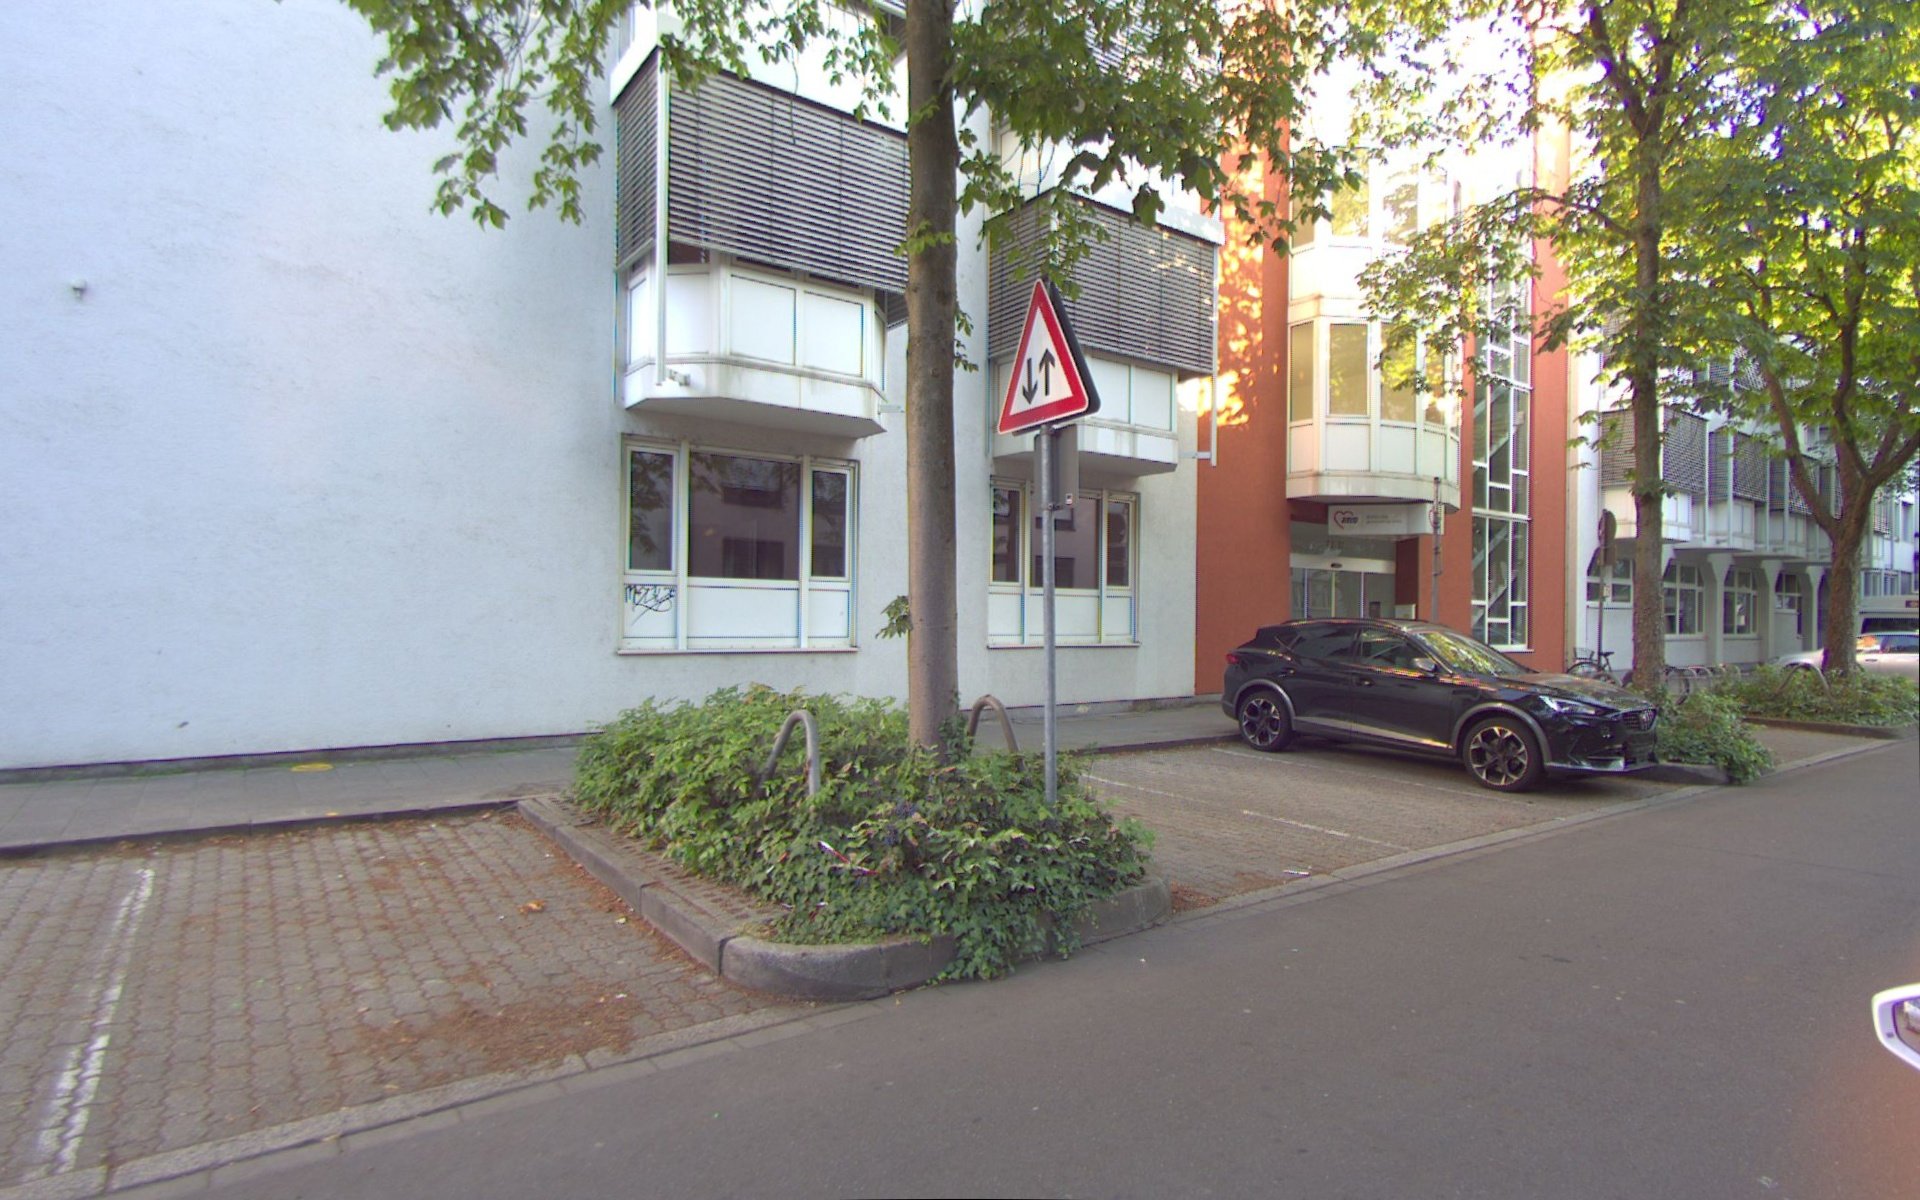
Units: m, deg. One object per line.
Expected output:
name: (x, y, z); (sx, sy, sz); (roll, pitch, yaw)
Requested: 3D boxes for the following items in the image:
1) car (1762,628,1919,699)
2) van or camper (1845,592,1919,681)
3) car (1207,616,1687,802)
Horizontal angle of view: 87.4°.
car: (21.354, 1.441, 23.350); (1.767, 1.537, 3.942); (1, -1, -35)
van or camper: (28.095, 1.035, 28.150); (1.981, 2.511, 4.632); (1, -1, -36)
car: (4.908, 0.959, 10.726); (1.768, 1.537, 4.325); (1, -1, -35)
